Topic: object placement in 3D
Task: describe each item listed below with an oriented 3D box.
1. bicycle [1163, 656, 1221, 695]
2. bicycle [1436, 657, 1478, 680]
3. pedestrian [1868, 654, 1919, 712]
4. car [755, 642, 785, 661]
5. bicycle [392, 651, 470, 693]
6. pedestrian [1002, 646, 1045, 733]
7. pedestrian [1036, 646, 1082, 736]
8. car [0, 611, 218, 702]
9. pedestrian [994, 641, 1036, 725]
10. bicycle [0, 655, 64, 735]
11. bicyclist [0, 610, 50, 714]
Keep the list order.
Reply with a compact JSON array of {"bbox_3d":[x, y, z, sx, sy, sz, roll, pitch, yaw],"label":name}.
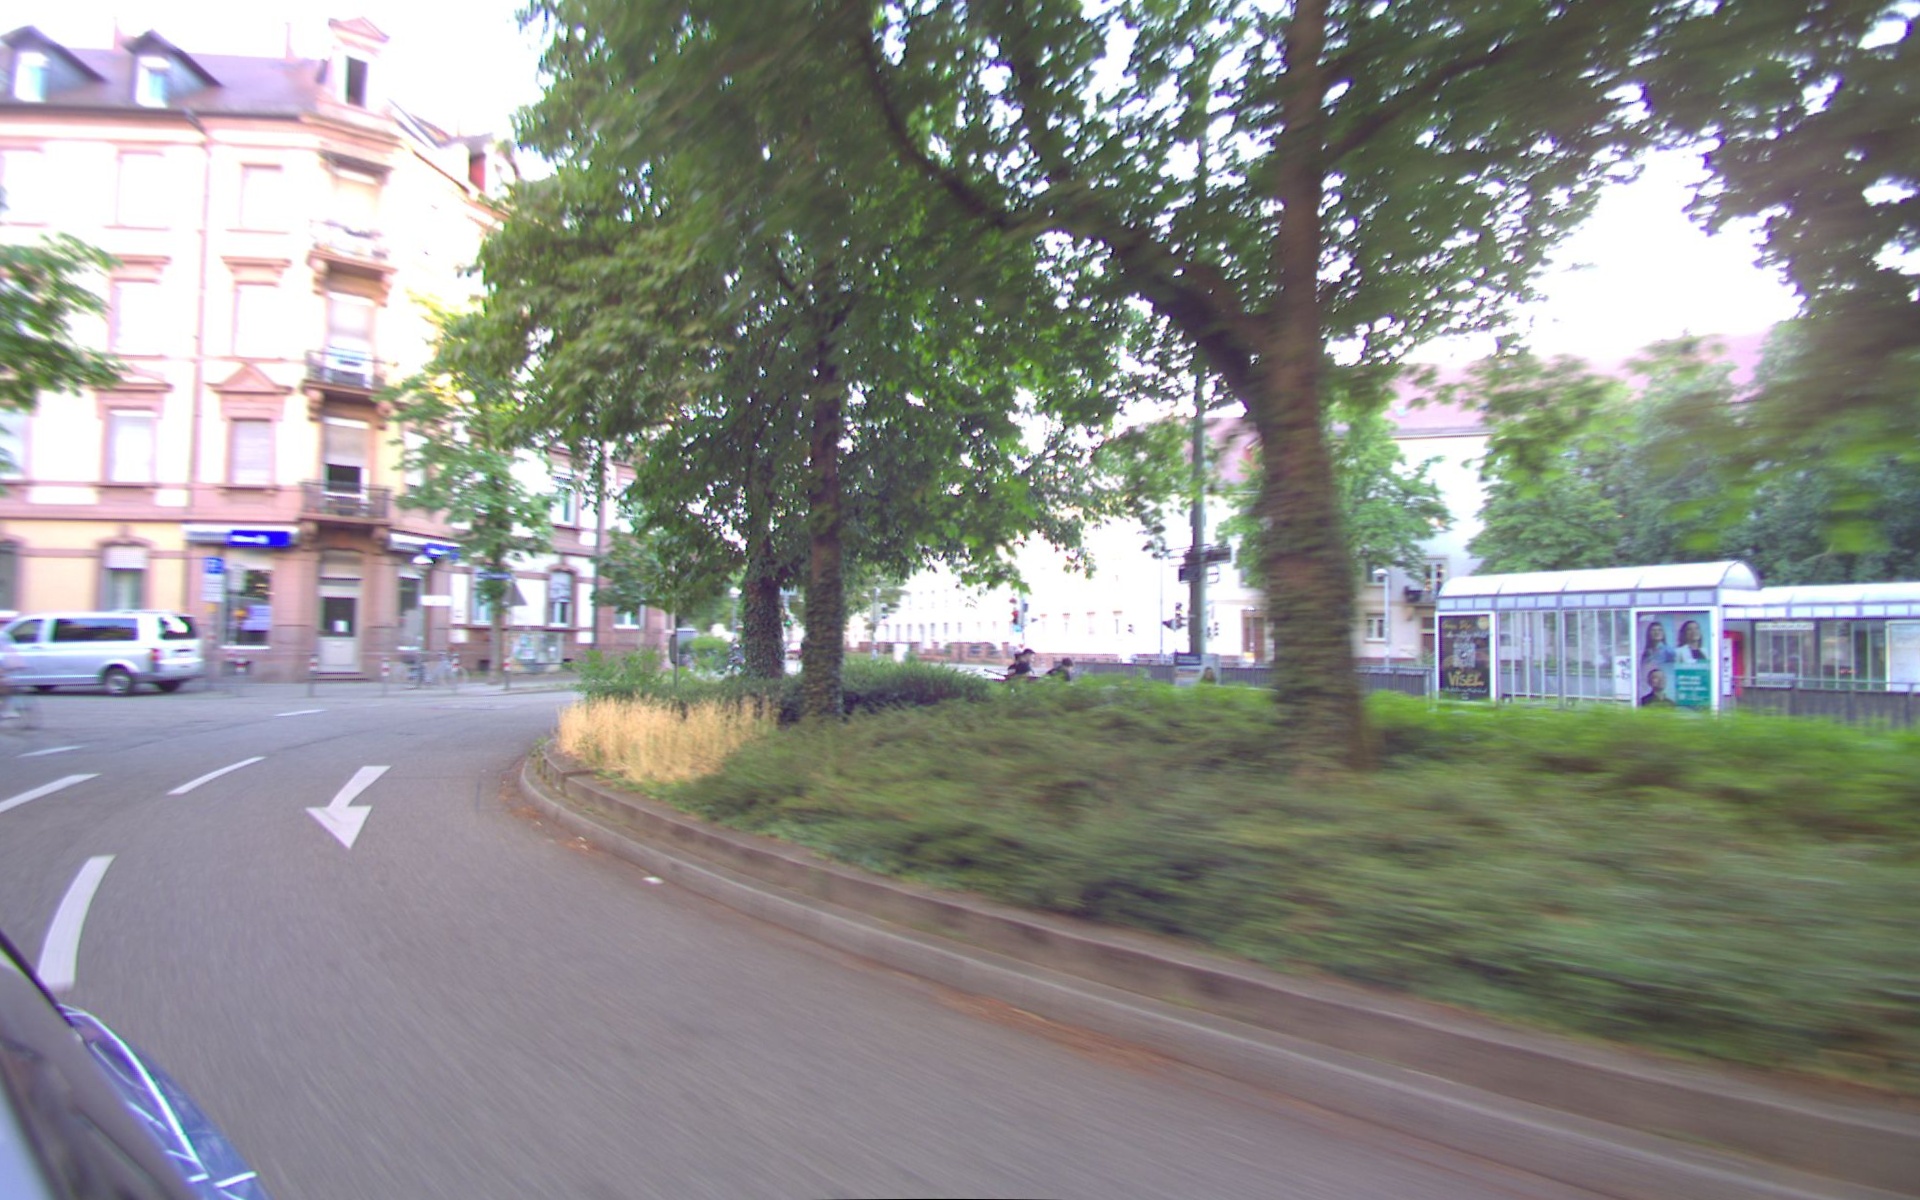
[{"bbox_3d":[6.531,2.109,28.592,0.537,1.059,1.861,2,-3,-27],"label":"bicycle"},{"bbox_3d":[25.739,3.522,52.428,1.911,1.160,0.679,-1,-3,29],"label":"bicycle"},{"bbox_3d":[34.772,3.075,37.690,1.052,2.102,1.008,0,-3,18],"label":"pedestrian"},{"bbox_3d":[-19.493,5.286,103.878,1.877,1.864,4.013,2,-3,-27],"label":"car"},{"bbox_3d":[-14.272,1.941,27.358,1.767,1.091,0.562,1,-2,-18],"label":"bicycle"},{"bbox_3d":[1.062,1.493,17.031,0.645,1.442,0.619,0,-3,-4],"label":"pedestrian"},{"bbox_3d":[1.607,1.465,16.458,0.645,1.442,0.619,0,-3,-4],"label":"pedestrian"},{"bbox_3d":[-21.190,1.326,24.415,4.928,2.072,2.049,1,-1,-5],"label":"car"},{"bbox_3d":[0.952,1.434,17.653,0.645,1.442,0.619,0,-3,-4],"label":"pedestrian"},{"bbox_3d":[-14.771,1.413,15.304,2.093,1.160,0.684,0,-3,12],"label":"bicycle"},{"bbox_3d":[-14.522,0.926,15.276,0.963,1.524,0.684,0,-3,11],"label":"bicyclist"}]
